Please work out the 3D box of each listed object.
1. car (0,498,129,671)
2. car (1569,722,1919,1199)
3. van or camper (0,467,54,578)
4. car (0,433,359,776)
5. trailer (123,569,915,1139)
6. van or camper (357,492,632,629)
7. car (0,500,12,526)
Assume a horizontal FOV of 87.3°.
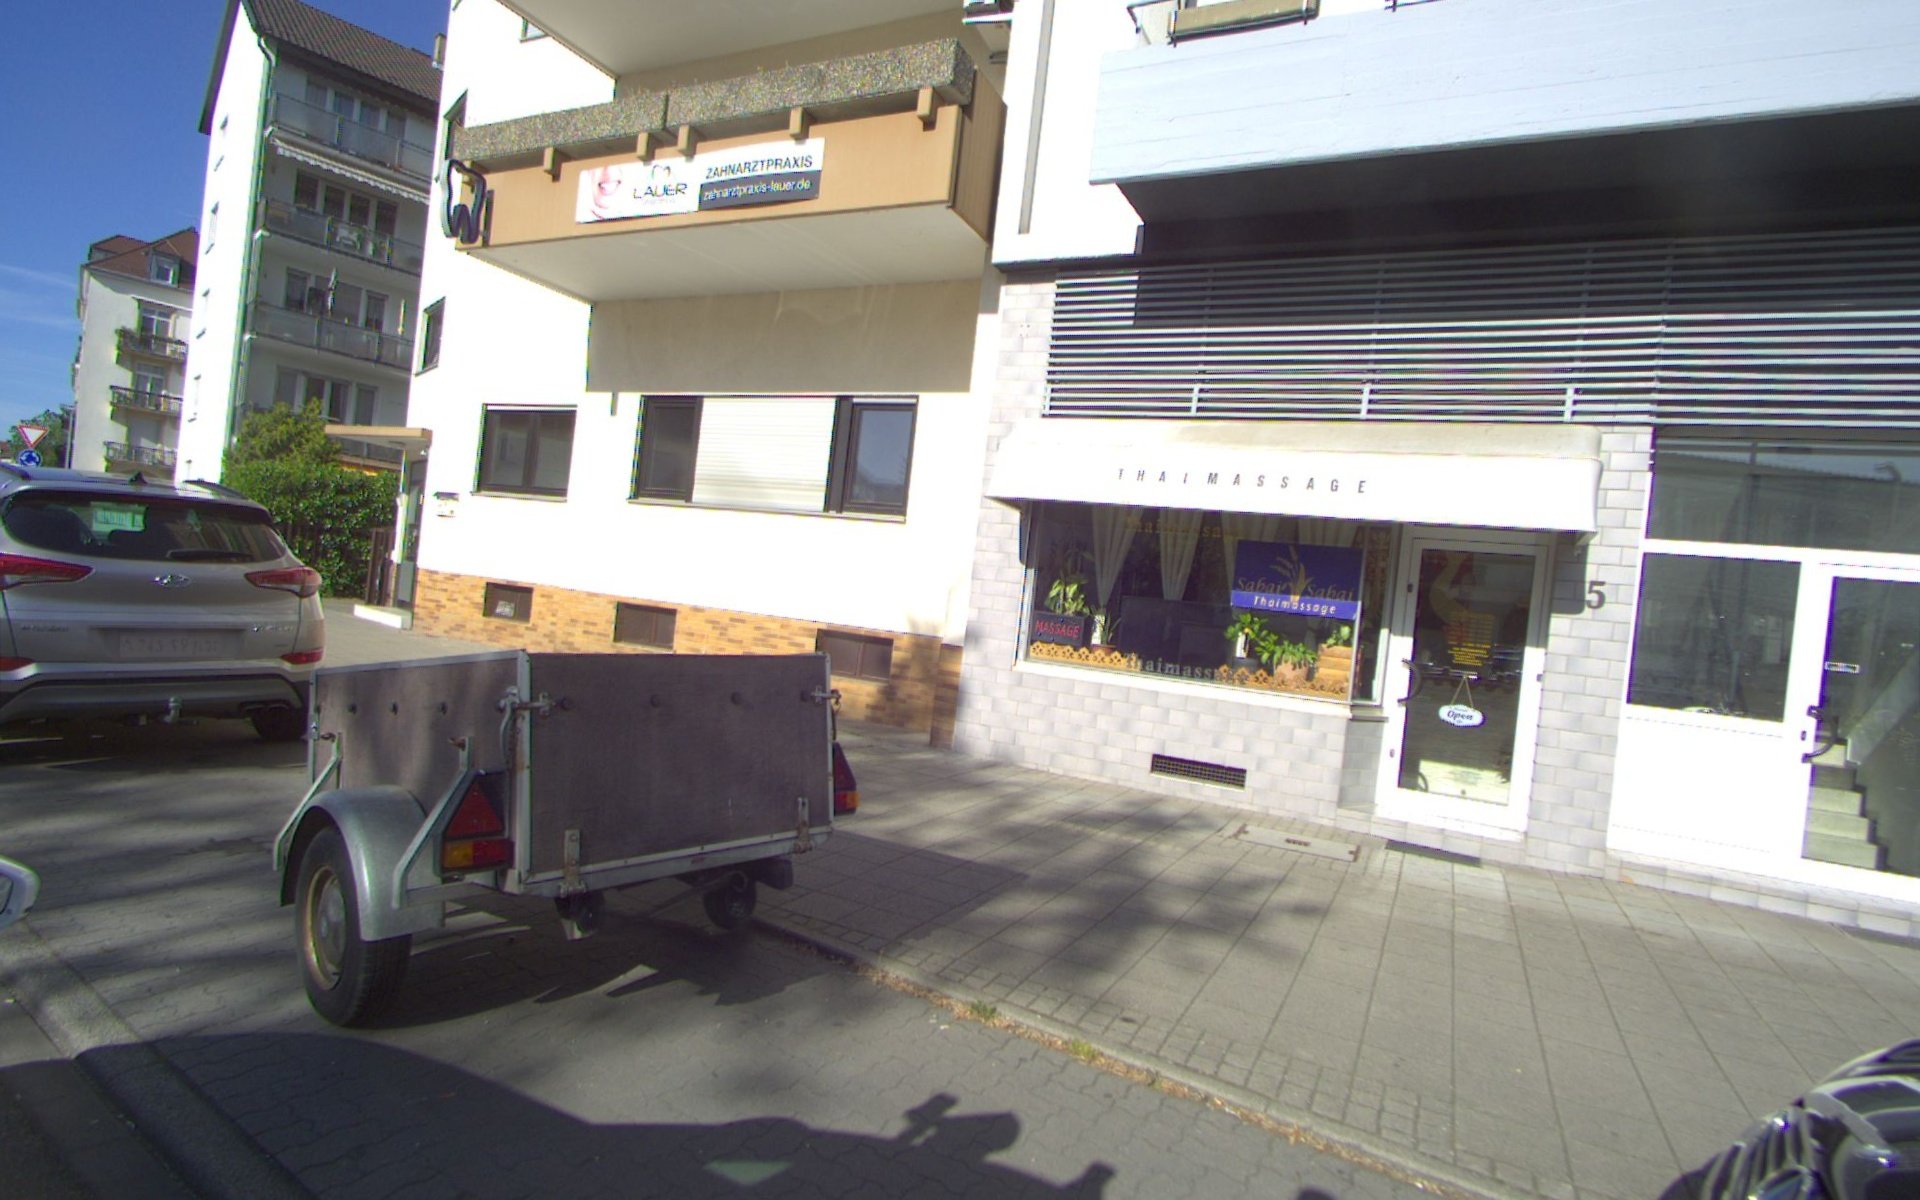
[{"bbox_3d":[-9.753,-0.299,9.727,4.249,1.427,1.715,6,2,37],"label":"car"},{"bbox_3d":[3.152,1.155,0.434,4.925,1.468,1.972,5,-1,35],"label":"car"},{"bbox_3d":[-19.255,-1.614,19.698,2.010,1.972,4.650,4,1,-40],"label":"van or camper"},{"bbox_3d":[-6.081,-0.012,6.810,4.493,1.673,1.817,3,-2,37],"label":"car"},{"bbox_3d":[-1.828,0.633,3.897,2.900,1.192,1.601,5,-1,39],"label":"trailer"},{"bbox_3d":[-9.976,-0.780,21.841,4.944,2.317,1.832,7,1,-43],"label":"van or camper"},{"bbox_3d":[-71.114,-6.531,73.492,2.422,1.833,4.669,7,-1,-41],"label":"car"}]
